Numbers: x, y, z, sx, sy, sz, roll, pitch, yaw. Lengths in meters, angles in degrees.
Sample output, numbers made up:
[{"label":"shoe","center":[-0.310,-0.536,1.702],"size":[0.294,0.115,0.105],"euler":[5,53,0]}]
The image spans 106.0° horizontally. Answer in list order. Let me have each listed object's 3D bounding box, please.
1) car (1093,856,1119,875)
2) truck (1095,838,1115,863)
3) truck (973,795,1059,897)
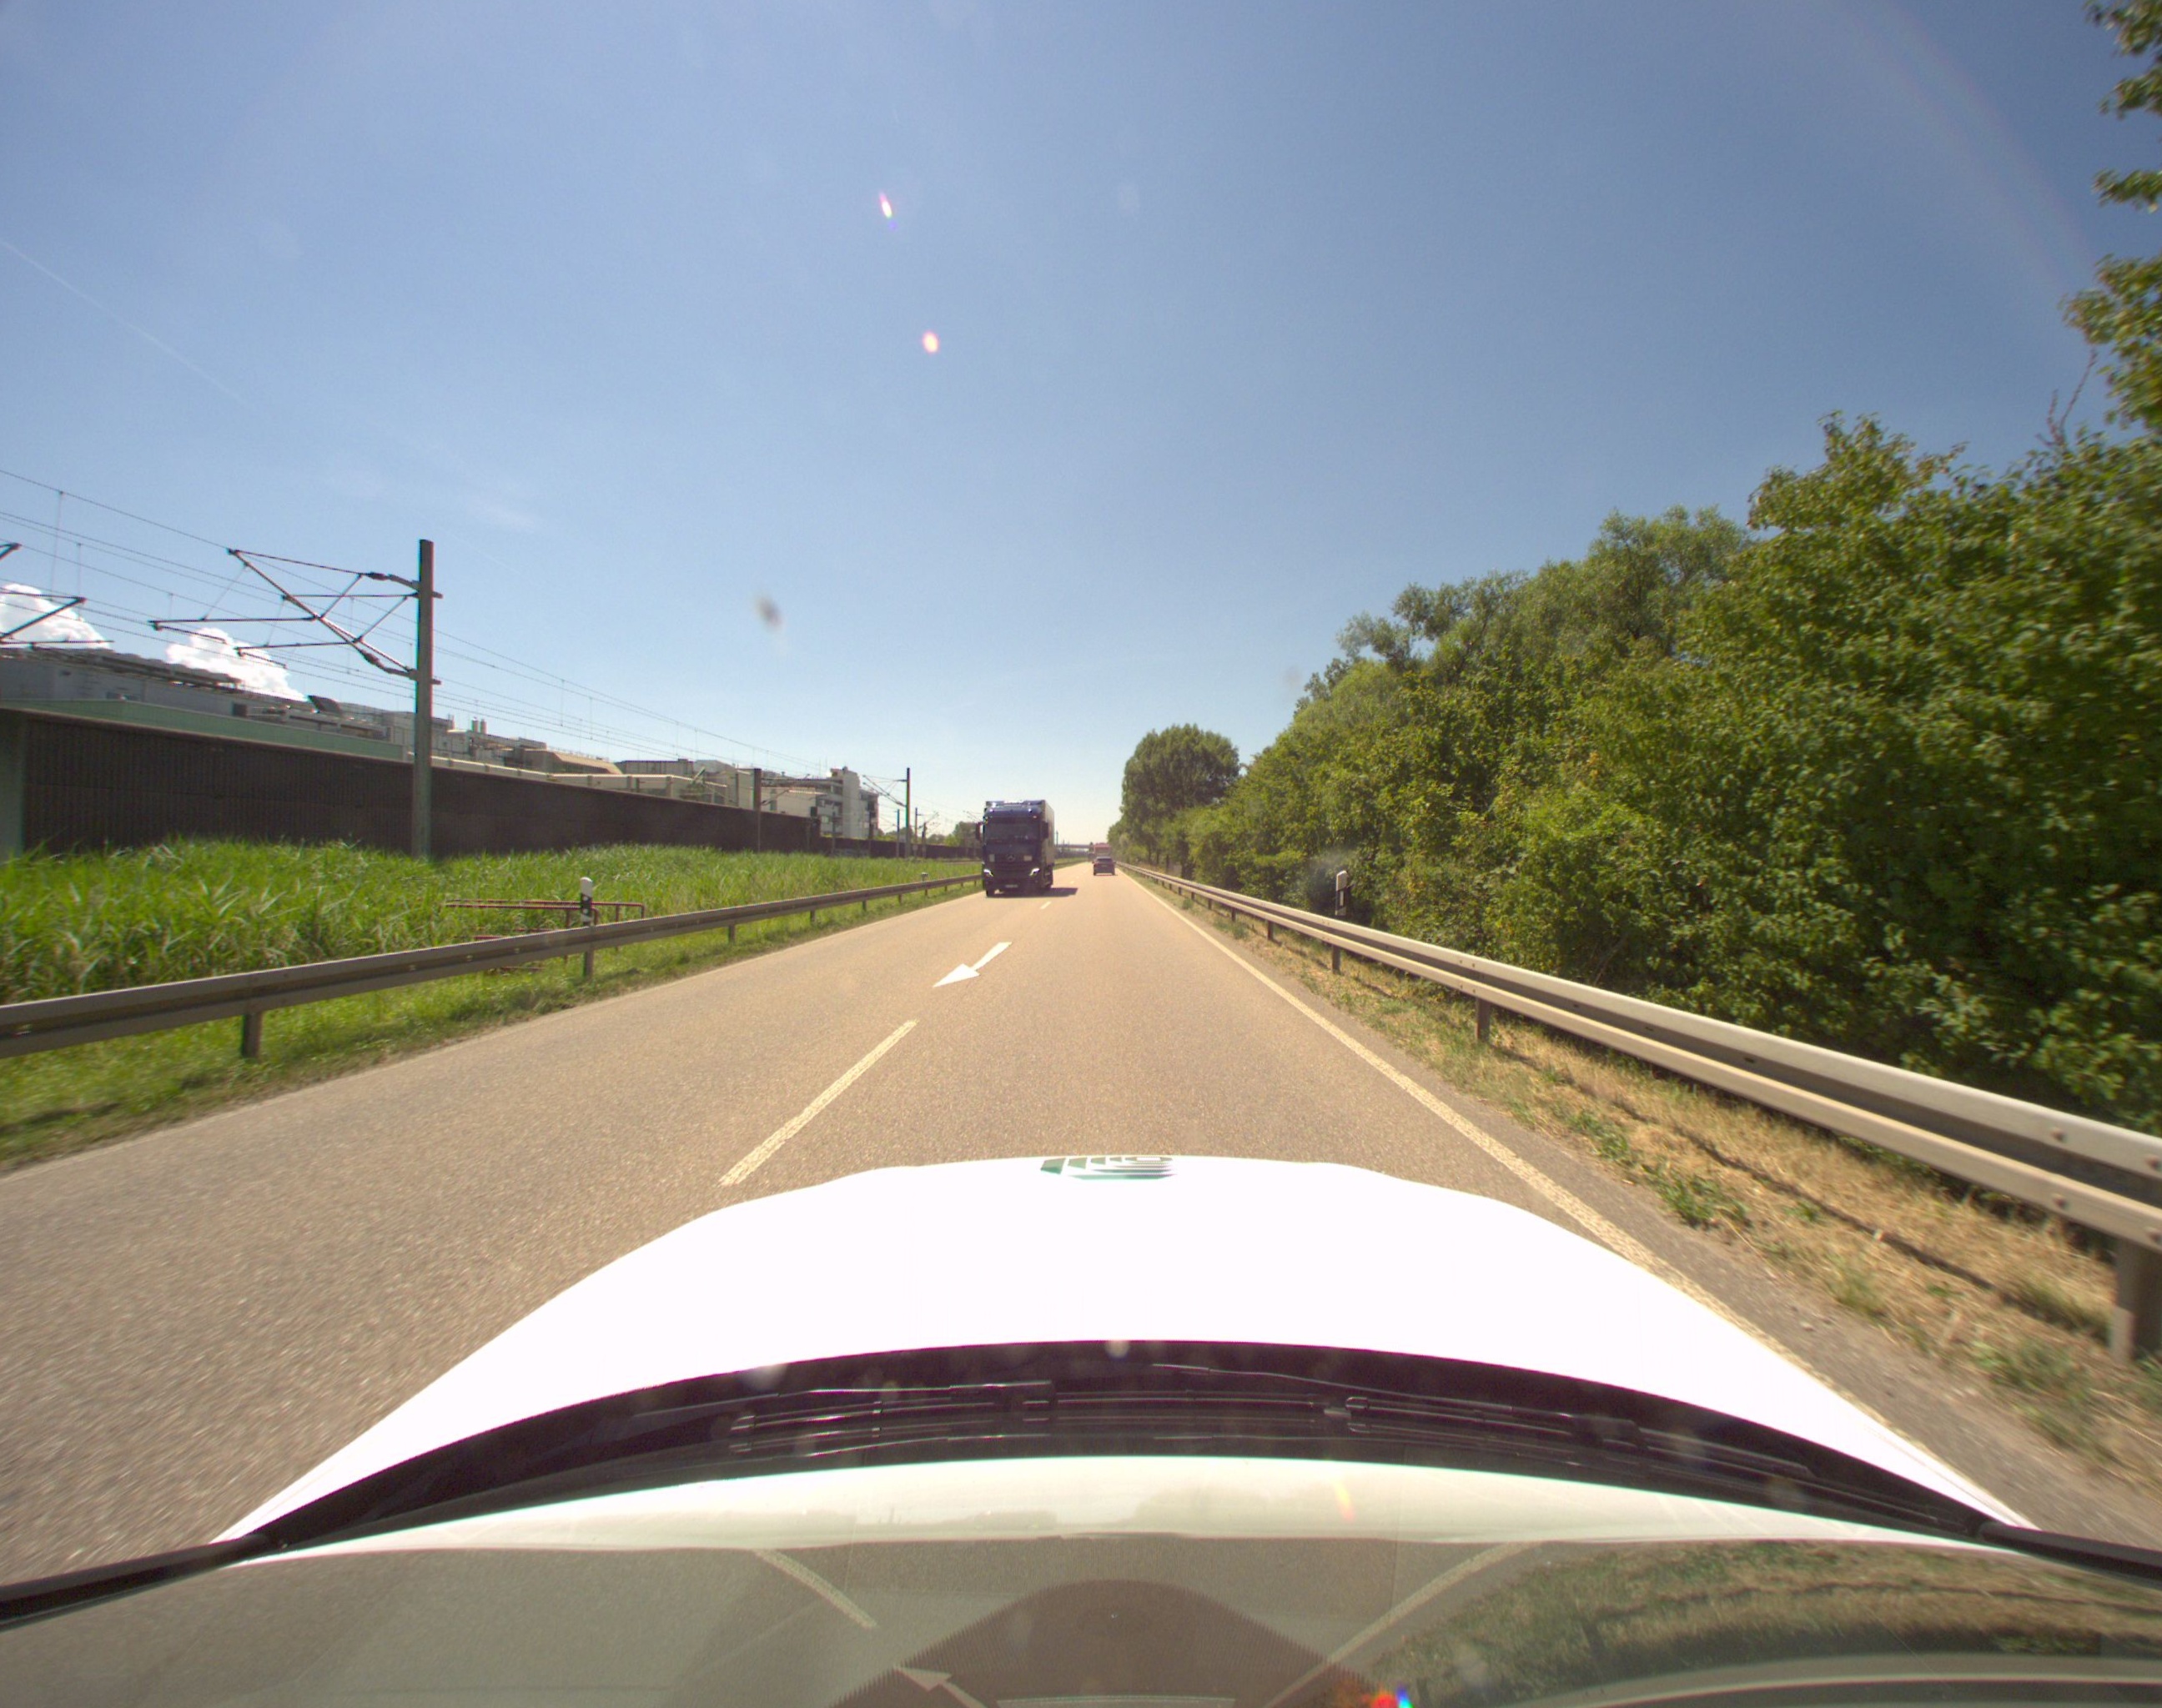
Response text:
[{"label":"car","center":[2.059,0.944,68.394],"size":[1.988,1.508,3.998],"euler":[-1,0,-1]},{"label":"truck","center":[3.477,-0.436,120.058],"size":[2.760,3.425,10.822],"euler":[0,0,1]},{"label":"truck","center":[-2.727,-0.318,37.668],"size":[2.787,3.978,10.503],"euler":[-2,0,1]}]
